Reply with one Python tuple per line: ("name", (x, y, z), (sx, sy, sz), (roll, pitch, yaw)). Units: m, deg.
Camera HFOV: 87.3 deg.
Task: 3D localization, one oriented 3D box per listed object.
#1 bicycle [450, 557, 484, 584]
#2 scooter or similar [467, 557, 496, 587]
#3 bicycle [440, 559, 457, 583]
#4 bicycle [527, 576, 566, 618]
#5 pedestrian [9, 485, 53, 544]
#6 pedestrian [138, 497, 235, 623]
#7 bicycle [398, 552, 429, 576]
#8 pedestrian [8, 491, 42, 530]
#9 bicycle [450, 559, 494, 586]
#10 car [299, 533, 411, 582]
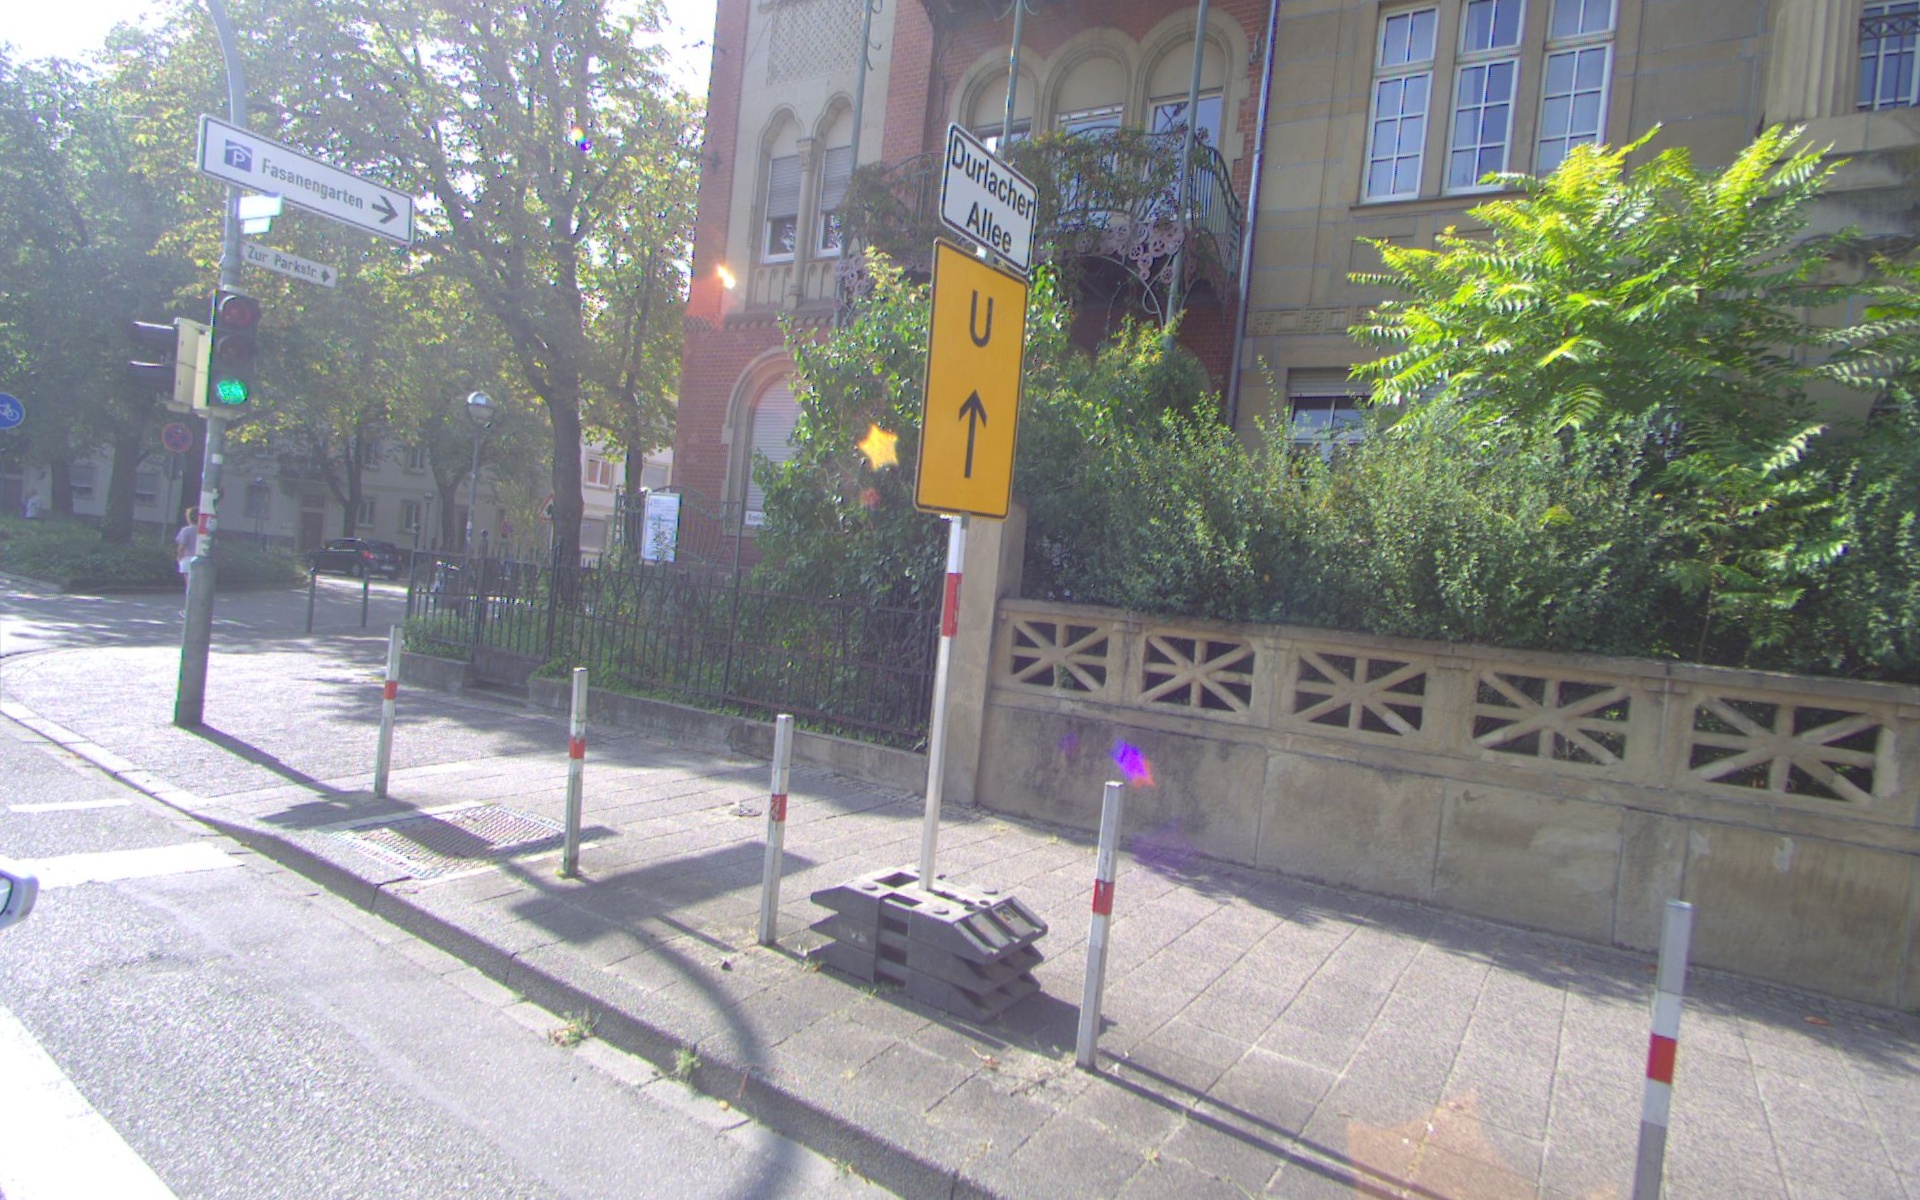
("bicycle", (-21.642, -1.285, 44.196), (0.417, 1.052, 1.556), (6, 0, 12))
("scooter or similar", (-20.182, -1.172, 42.404), (1.059, 1.214, 0.456), (2, 4, -28))
("bicycle", (-22.022, -1.266, 43.337), (0.420, 0.990, 1.548), (5, 1, -21))
("bicycle", (-10.567, -0.092, 25.742), (0.418, 0.990, 1.767), (6, 0, -9))
("pedestrian", (-29.681, -2.715, 32.159), (0.887, 1.762, 0.767), (5, 1, -40))
("pedestrian", (-11.463, -0.585, 14.929), (0.757, 1.753, 0.752), (6, 1, 22))
("bicycle", (-25.408, -1.668, 46.791), (1.529, 0.990, 0.425), (6, 1, 28))
("pedestrian", (-46.732, -4.466, 50.293), (0.879, 1.762, 0.774), (6, 1, -12))
("bicycle", (-20.818, -1.156, 42.941), (1.546, 0.990, 0.420), (6, 1, -45))
("car", (-23.270, -1.646, 38.695), (3.930, 1.436, 1.857), (6, 0, 28))
